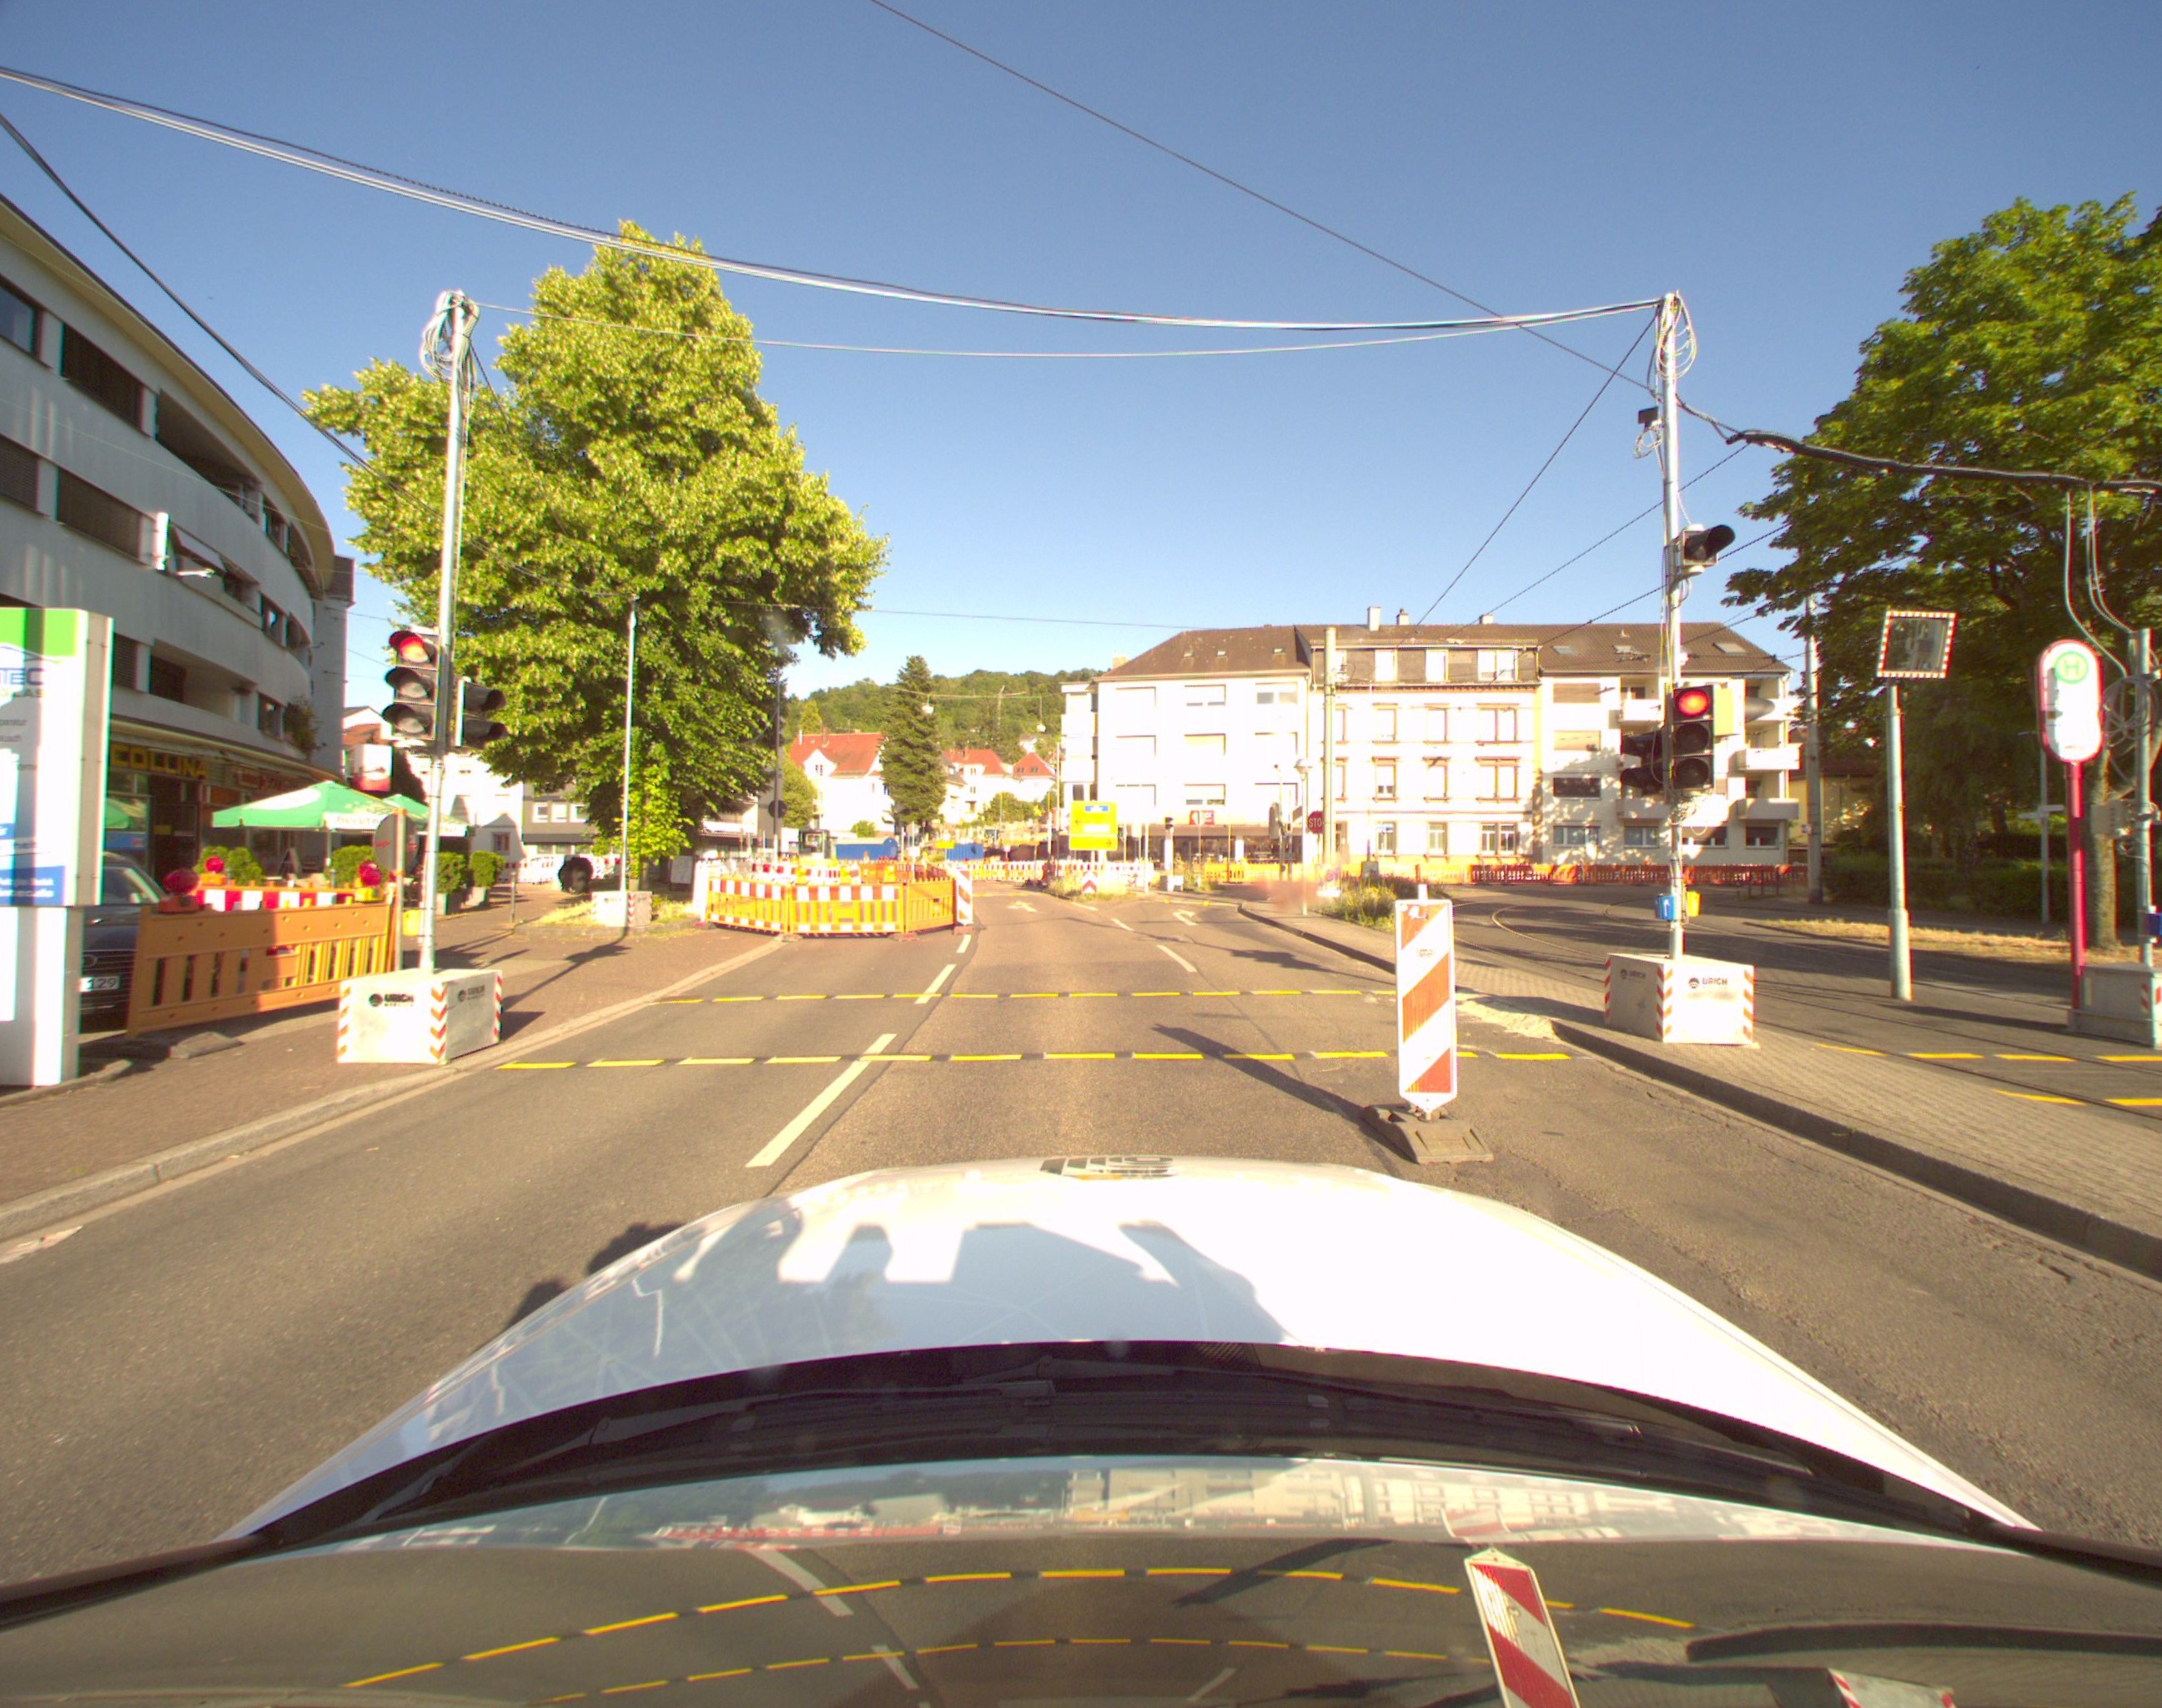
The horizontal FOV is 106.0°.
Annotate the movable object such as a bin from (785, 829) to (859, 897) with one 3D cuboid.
[{"bbox_3d":[-9.420,0.302,29.877,1.643,2.324,3.916,0,0,-3],"label":"movable object such as a bin"}]

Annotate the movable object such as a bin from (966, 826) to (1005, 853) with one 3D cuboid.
[{"bbox_3d":[-9.240,-1.346,79.397,1.932,2.494,4.574,-1,-1,20],"label":"movable object such as a bin"}]

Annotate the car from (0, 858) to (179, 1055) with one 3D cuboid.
[{"bbox_3d":[-9.319,0.782,7.313,3.835,1.438,1.606,-1,0,42],"label":"car"}]

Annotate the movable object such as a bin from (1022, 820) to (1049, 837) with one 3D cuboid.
[{"bbox_3d":[-6.419,-3.592,115.297,2.549,2.122,5.801,-1,-1,11],"label":"movable object such as a bin"}]

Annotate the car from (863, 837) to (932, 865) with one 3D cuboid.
[{"bbox_3d":[-14.890,-0.225,66.693,2.562,2.121,6.181,-1,-1,20],"label":"car"}]
